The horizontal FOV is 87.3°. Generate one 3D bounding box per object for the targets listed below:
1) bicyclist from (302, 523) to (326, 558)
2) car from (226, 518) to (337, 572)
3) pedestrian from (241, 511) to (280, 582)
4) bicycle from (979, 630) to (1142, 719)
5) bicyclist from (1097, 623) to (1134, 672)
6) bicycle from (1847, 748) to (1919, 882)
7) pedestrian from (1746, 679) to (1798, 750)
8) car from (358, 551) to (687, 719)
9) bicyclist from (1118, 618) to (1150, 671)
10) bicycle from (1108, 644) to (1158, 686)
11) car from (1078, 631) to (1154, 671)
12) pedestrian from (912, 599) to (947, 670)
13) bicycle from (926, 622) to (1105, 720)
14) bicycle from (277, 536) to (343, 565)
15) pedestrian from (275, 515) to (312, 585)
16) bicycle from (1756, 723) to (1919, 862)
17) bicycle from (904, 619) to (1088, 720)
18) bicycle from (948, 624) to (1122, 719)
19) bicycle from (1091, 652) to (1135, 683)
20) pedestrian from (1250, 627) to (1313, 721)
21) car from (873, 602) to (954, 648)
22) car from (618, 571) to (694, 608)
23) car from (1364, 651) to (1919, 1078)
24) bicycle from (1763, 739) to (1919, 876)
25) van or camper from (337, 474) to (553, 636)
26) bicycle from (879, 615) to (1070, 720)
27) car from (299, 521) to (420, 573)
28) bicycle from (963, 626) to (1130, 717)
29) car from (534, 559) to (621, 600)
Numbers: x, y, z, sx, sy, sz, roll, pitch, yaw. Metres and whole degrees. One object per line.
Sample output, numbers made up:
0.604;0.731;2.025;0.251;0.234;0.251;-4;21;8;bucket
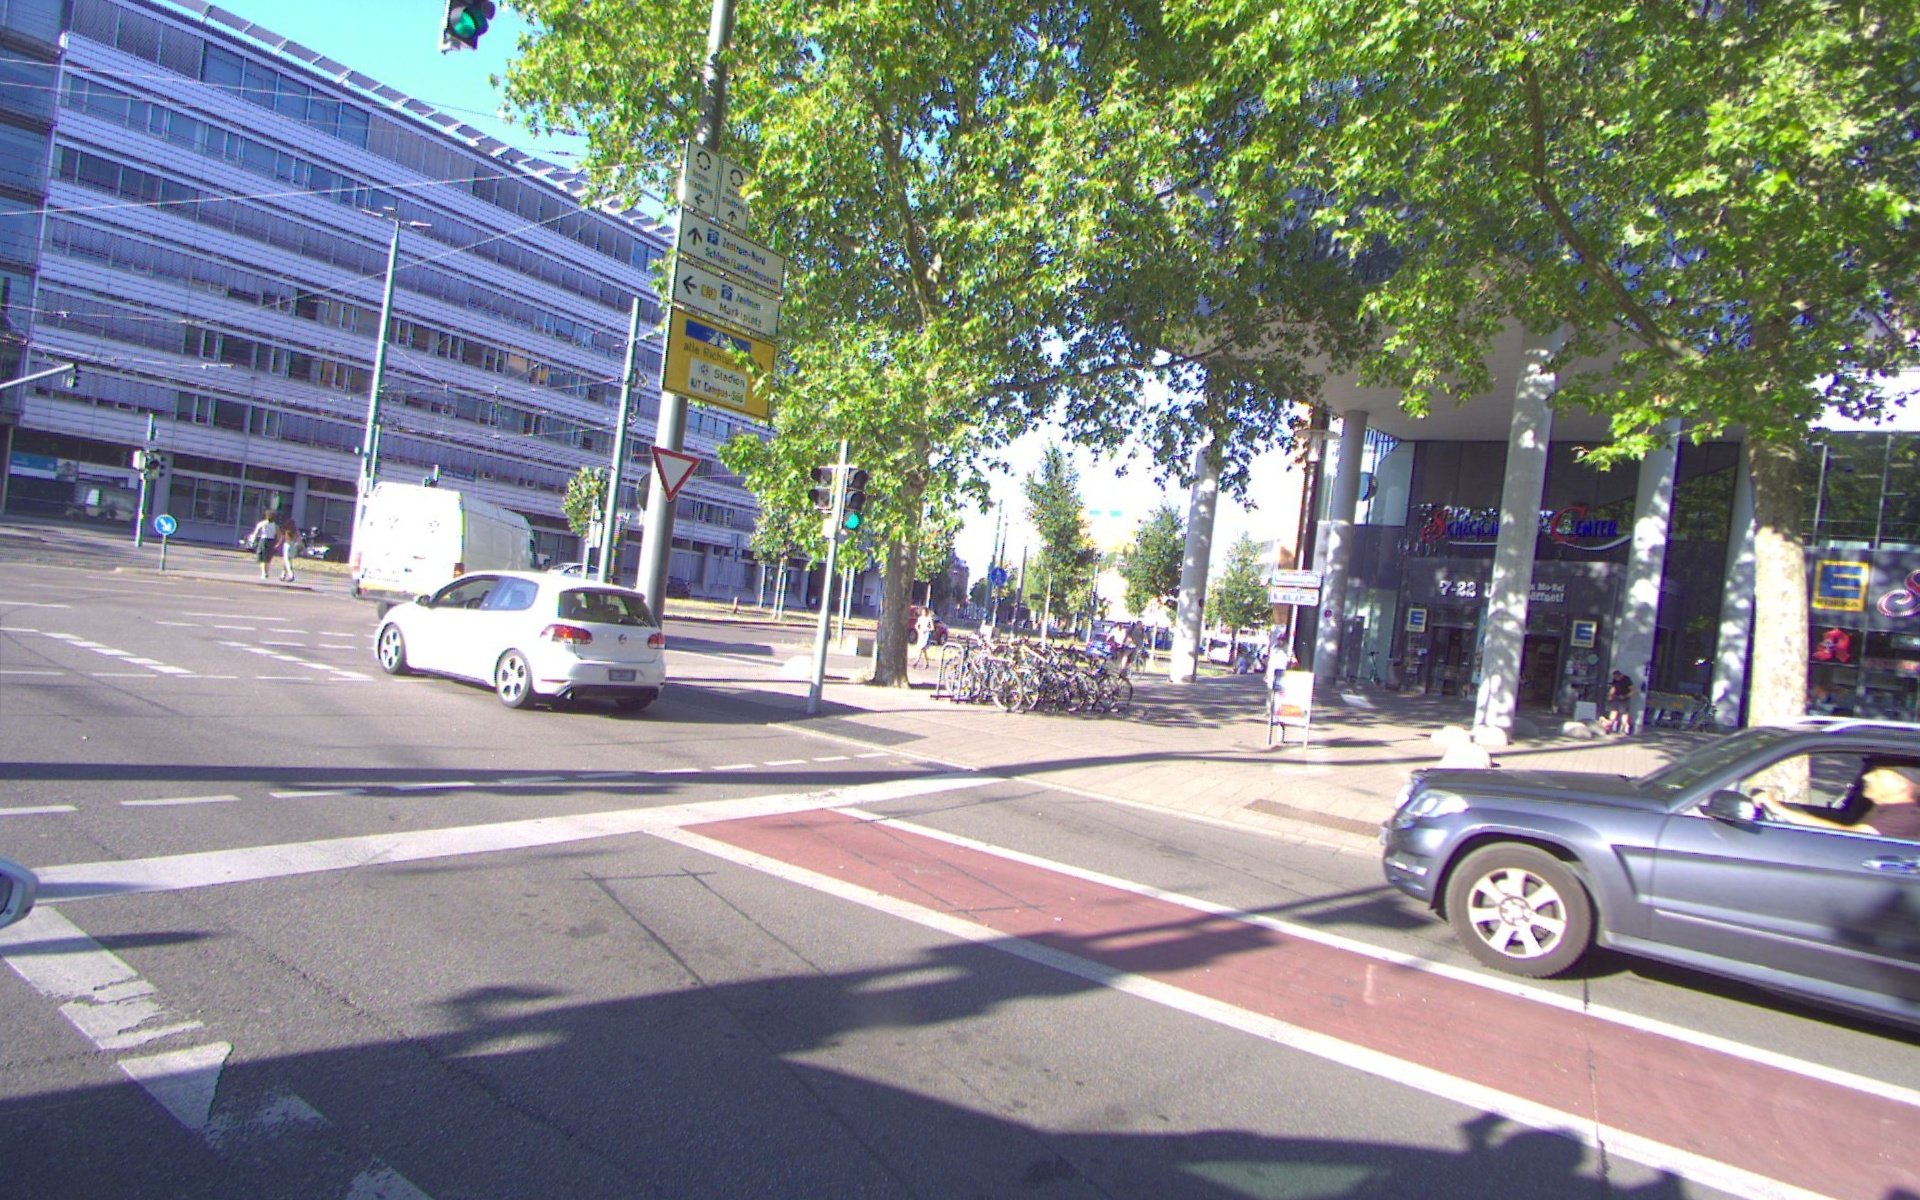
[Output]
-29.921;-2.768;46.581;0.604;1.521;0.663;7;1;37;bicyclist
-34.118;-2.748;50.673;1.967;2.037;3.995;6;-2;32;car
-18.599;-1.417;26.768;0.673;1.781;0.735;6;1;-33;pedestrian
1.858;1.377;18.923;2.896;1.250;0.698;6;-4;31;bicycle
5.376;1.623;34.737;0.794;1.587;1.028;6;2;28;bicyclist
10.268;2.231;9.630;2.514;1.234;0.756;5;-2;37;bicycle
21.957;3.083;27.216;0.824;1.765;0.644;7;1;32;pedestrian
-5.271;0.380;11.963;3.923;1.445;1.637;7;-1;34;car
5.229;1.332;30.196;0.583;1.504;0.749;4;1;-13;bicyclist
5.179;1.935;30.212;0.592;1.028;2.189;5;1;-13;bicycle
7.646;2.518;49.047;1.727;1.476;4.200;7;-2;37;car
-0.733;0.832;24.368;0.523;1.644;0.543;7;1;19;pedestrian
0.897;1.176;16.966;2.896;1.252;0.705;6;-1;32;bicycle
-30.043;-2.275;46.530;0.627;1.035;2.409;7;0;36;bicycle
-18.042;-1.354;27.235;0.678;1.781;0.735;6;1;-33;pedestrian
11.217;2.368;11.007;3.757;1.235;0.727;10;1;38;bicycle
0.548;1.106;16.343;2.896;1.243;0.686;6;-1;31;bicycle
1.278;1.227;17.586;2.896;1.251;0.705;6;-3;31;bicycle
5.317;2.329;34.844;0.735;0.964;2.096;6;1;28;bicycle
7.057;1.613;22.118;0.800;1.913;0.871;5;1;-16;pedestrian
-1.905;1.065;42.001;1.470;1.476;3.592;7;-2;31;car
-18.587;-0.621;61.646;1.852;1.614;4.121;6;-2;35;car
4.667;1.413;5.532;4.179;1.655;1.768;7;-1;31;car
10.759;2.336;10.379;3.759;1.234;0.756;5;-2;37;bicycle
-10.457;-0.814;21.130;1.973;2.646;6.486;7;0;-10;van or camper
0.188;1.025;15.713;2.896;1.252;0.705;6;-1;31;bicycle
-27.337;-2.377;45.944;1.854;1.744;4.256;7;0;34;car
1.530;1.283;18.269;2.896;1.252;0.705;6;-1;31;bicycle
-20.837;-1.110;54.929;1.852;1.614;3.991;6;-2;35;car
